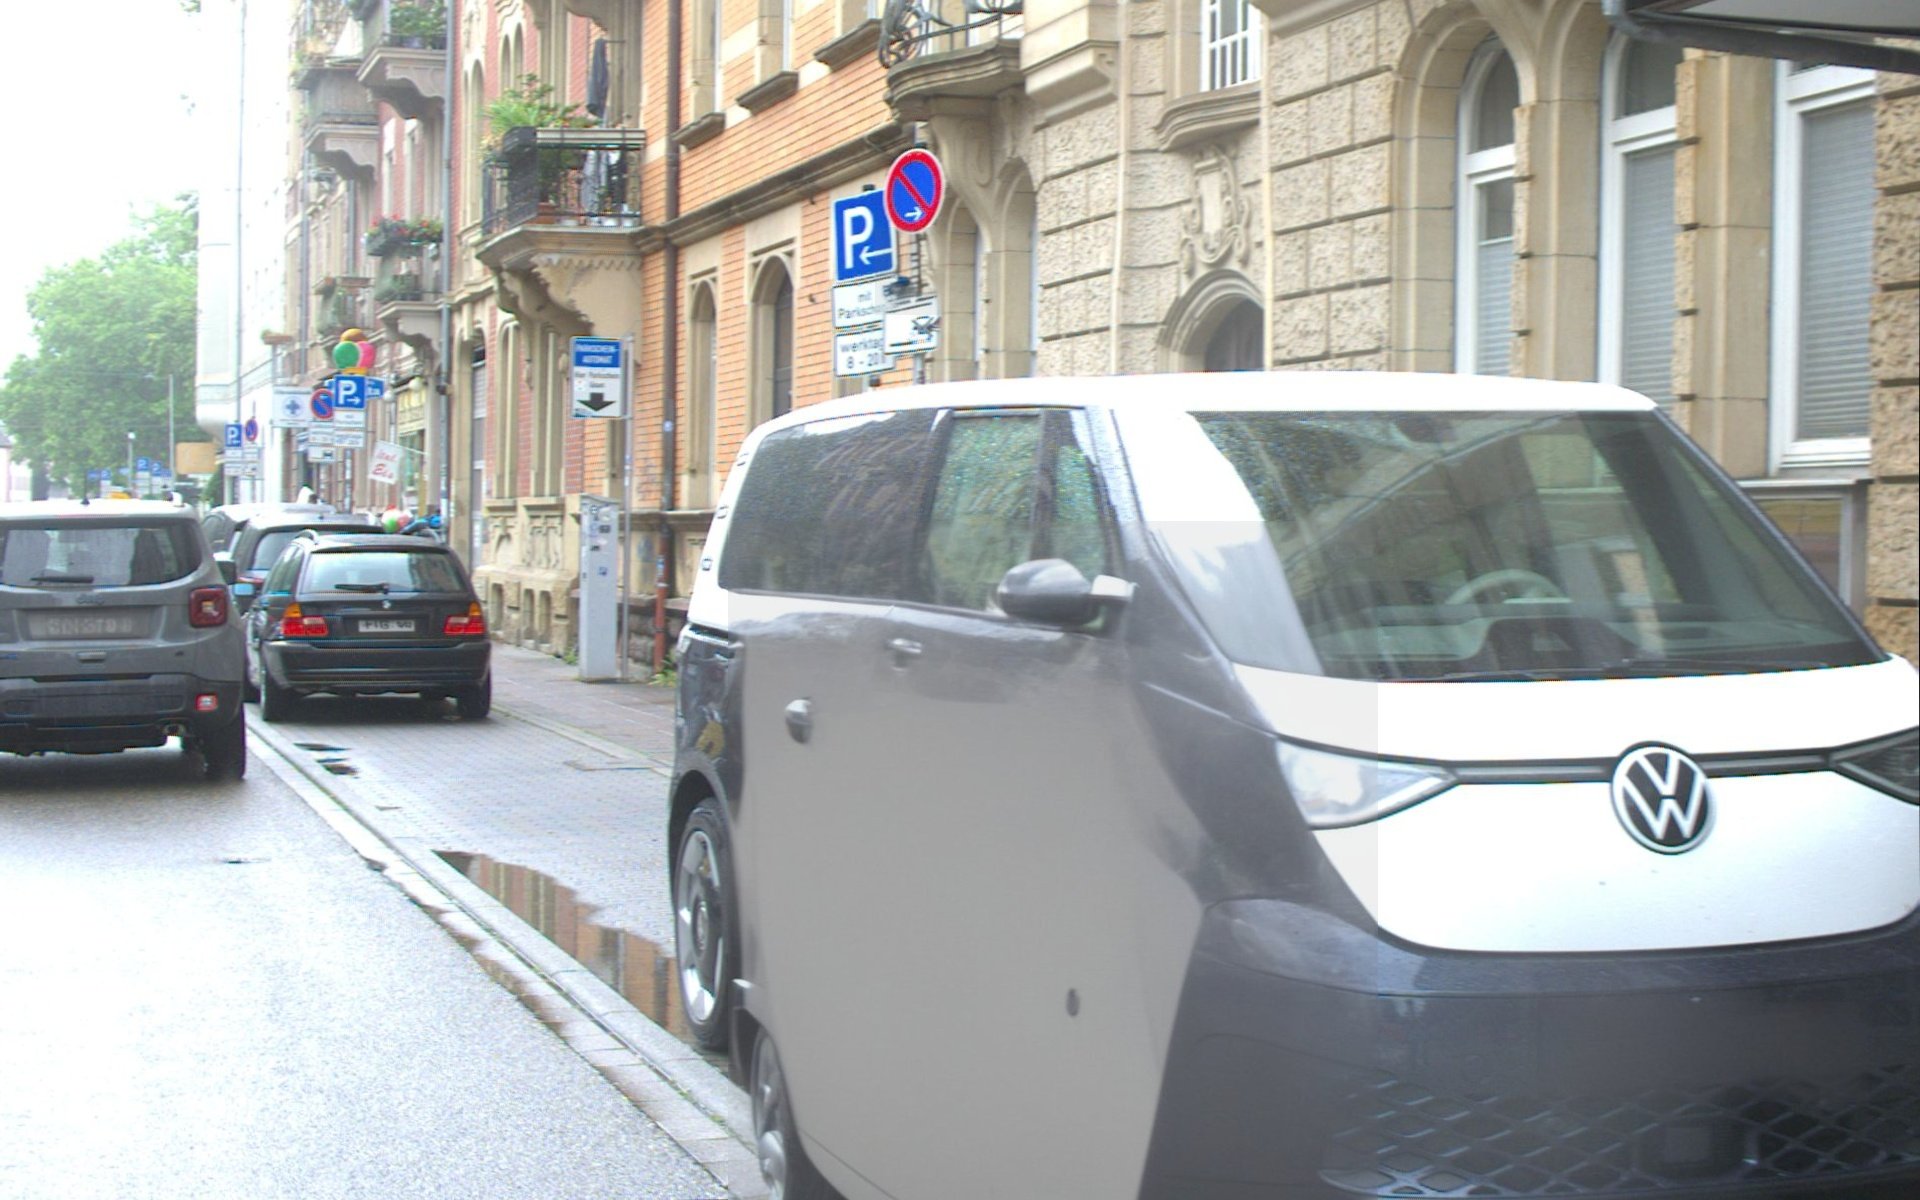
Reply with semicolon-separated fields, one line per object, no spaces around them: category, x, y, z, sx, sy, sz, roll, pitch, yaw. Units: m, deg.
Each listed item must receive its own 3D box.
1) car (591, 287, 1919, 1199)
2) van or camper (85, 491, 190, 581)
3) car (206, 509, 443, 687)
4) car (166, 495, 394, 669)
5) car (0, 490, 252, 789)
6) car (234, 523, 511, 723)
car;0.614;0.367;8.640;1.993;1.932;5.232;-1;1;-18
van or camper;-18.113;-1.423;75.591;2.021;1.884;5.057;-1;2;-16
car;-6.083;-0.079;32.571;1.871;1.556;4.346;-1;2;-15
car;-7.485;-0.236;37.504;1.993;1.773;4.828;0;1;-17
car;-5.579;0.170;21.434;1.898;1.665;4.507;0;1;-17
car;-4.780;0.127;27.508;1.786;1.461;4.485;0;1;-15
